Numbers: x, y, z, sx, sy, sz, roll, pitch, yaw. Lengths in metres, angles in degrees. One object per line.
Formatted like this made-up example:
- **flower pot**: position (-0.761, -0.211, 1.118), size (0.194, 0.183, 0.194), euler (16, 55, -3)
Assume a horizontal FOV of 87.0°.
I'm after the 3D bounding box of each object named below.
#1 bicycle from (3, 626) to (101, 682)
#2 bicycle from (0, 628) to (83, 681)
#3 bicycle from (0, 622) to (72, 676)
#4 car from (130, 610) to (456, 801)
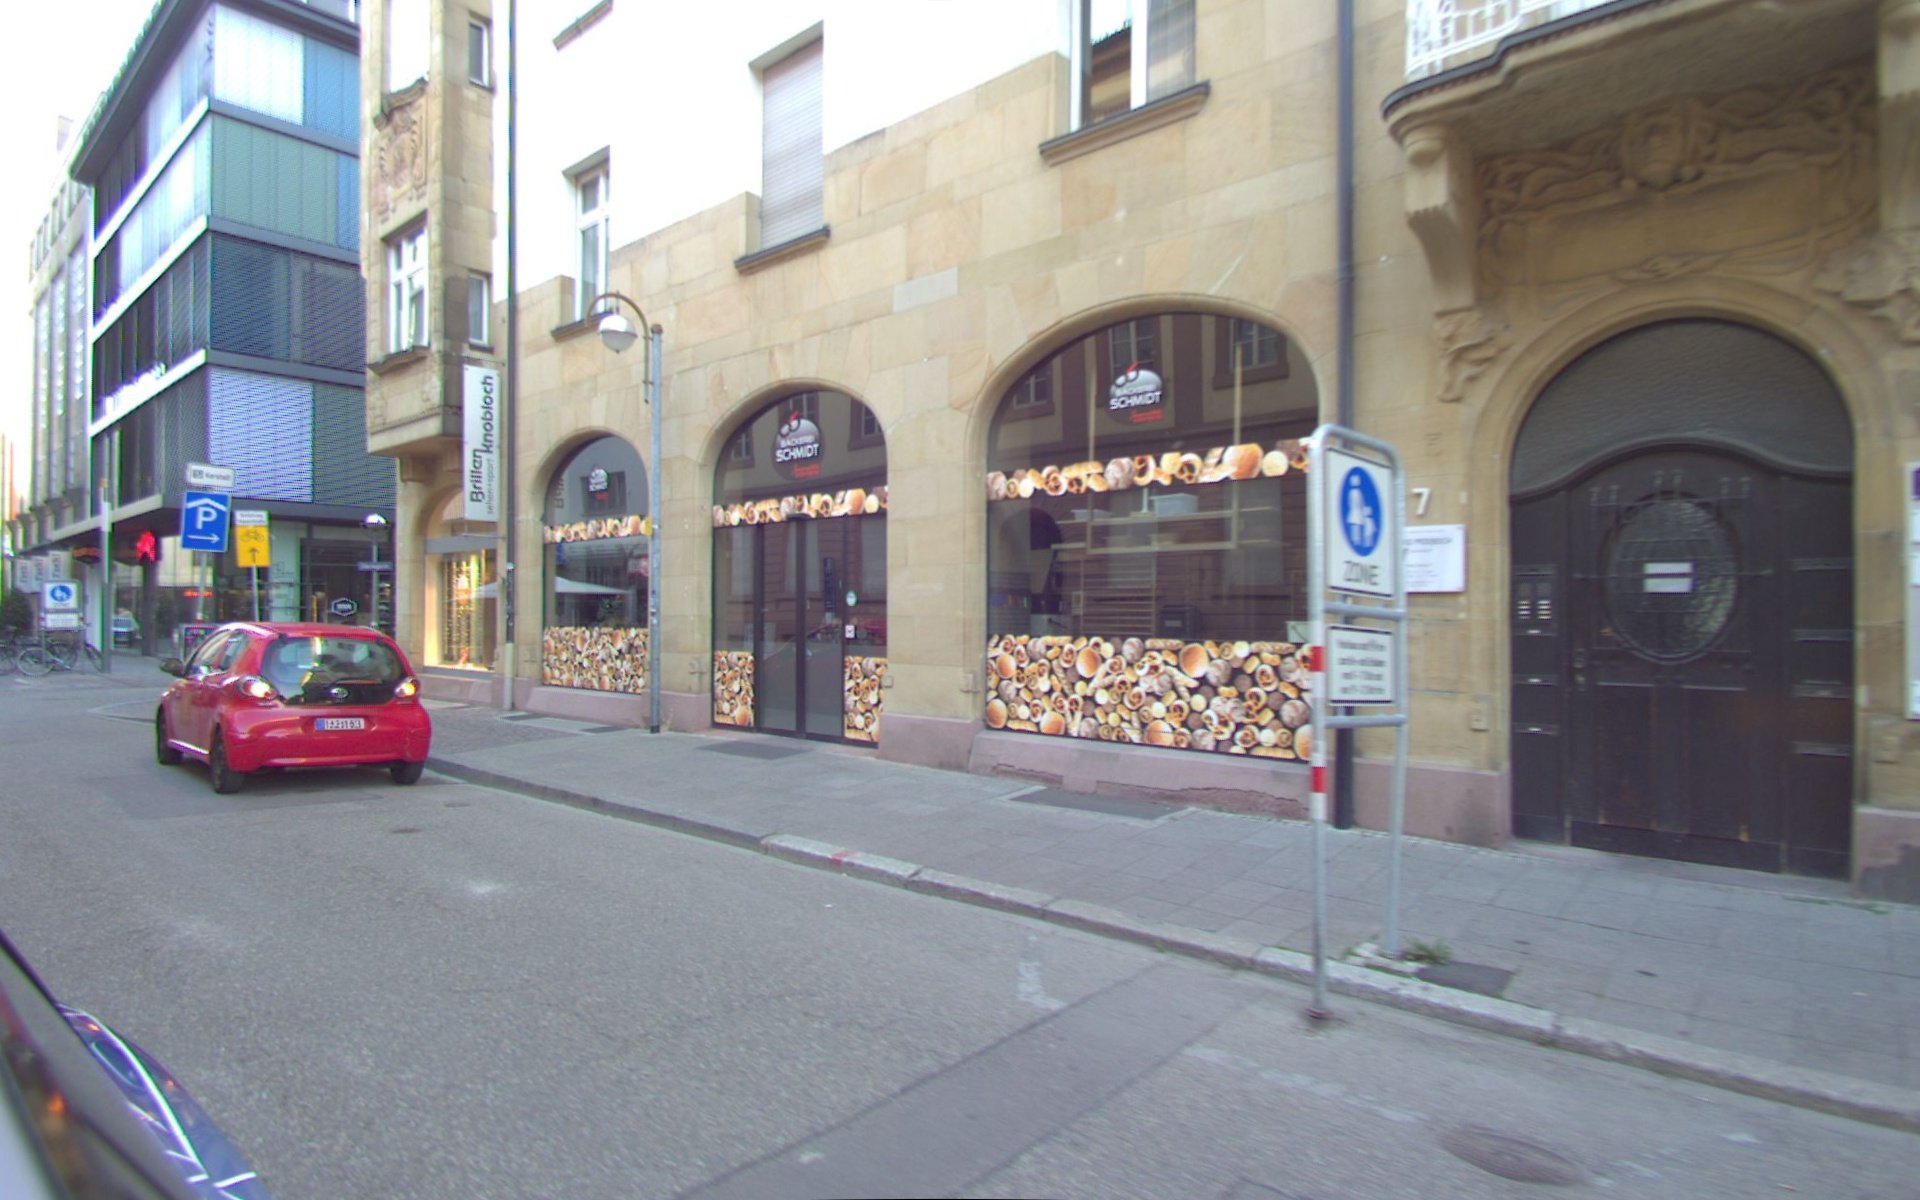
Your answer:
- **bicycle**: position (-21.287, 1.237, 23.761), size (0.509, 1.213, 1.648), euler (-1, 0, 40)
- **bicycle**: position (-22.638, 1.327, 24.631), size (0.517, 1.190, 1.878), euler (-3, 0, 40)
- **bicycle**: position (-24.525, 1.283, 26.447), size (0.538, 1.279, 1.878), euler (-1, 2, 41)
- **car**: position (-6.608, 0.905, 9.866), size (3.931, 1.481, 1.640), euler (0, -5, 42)
